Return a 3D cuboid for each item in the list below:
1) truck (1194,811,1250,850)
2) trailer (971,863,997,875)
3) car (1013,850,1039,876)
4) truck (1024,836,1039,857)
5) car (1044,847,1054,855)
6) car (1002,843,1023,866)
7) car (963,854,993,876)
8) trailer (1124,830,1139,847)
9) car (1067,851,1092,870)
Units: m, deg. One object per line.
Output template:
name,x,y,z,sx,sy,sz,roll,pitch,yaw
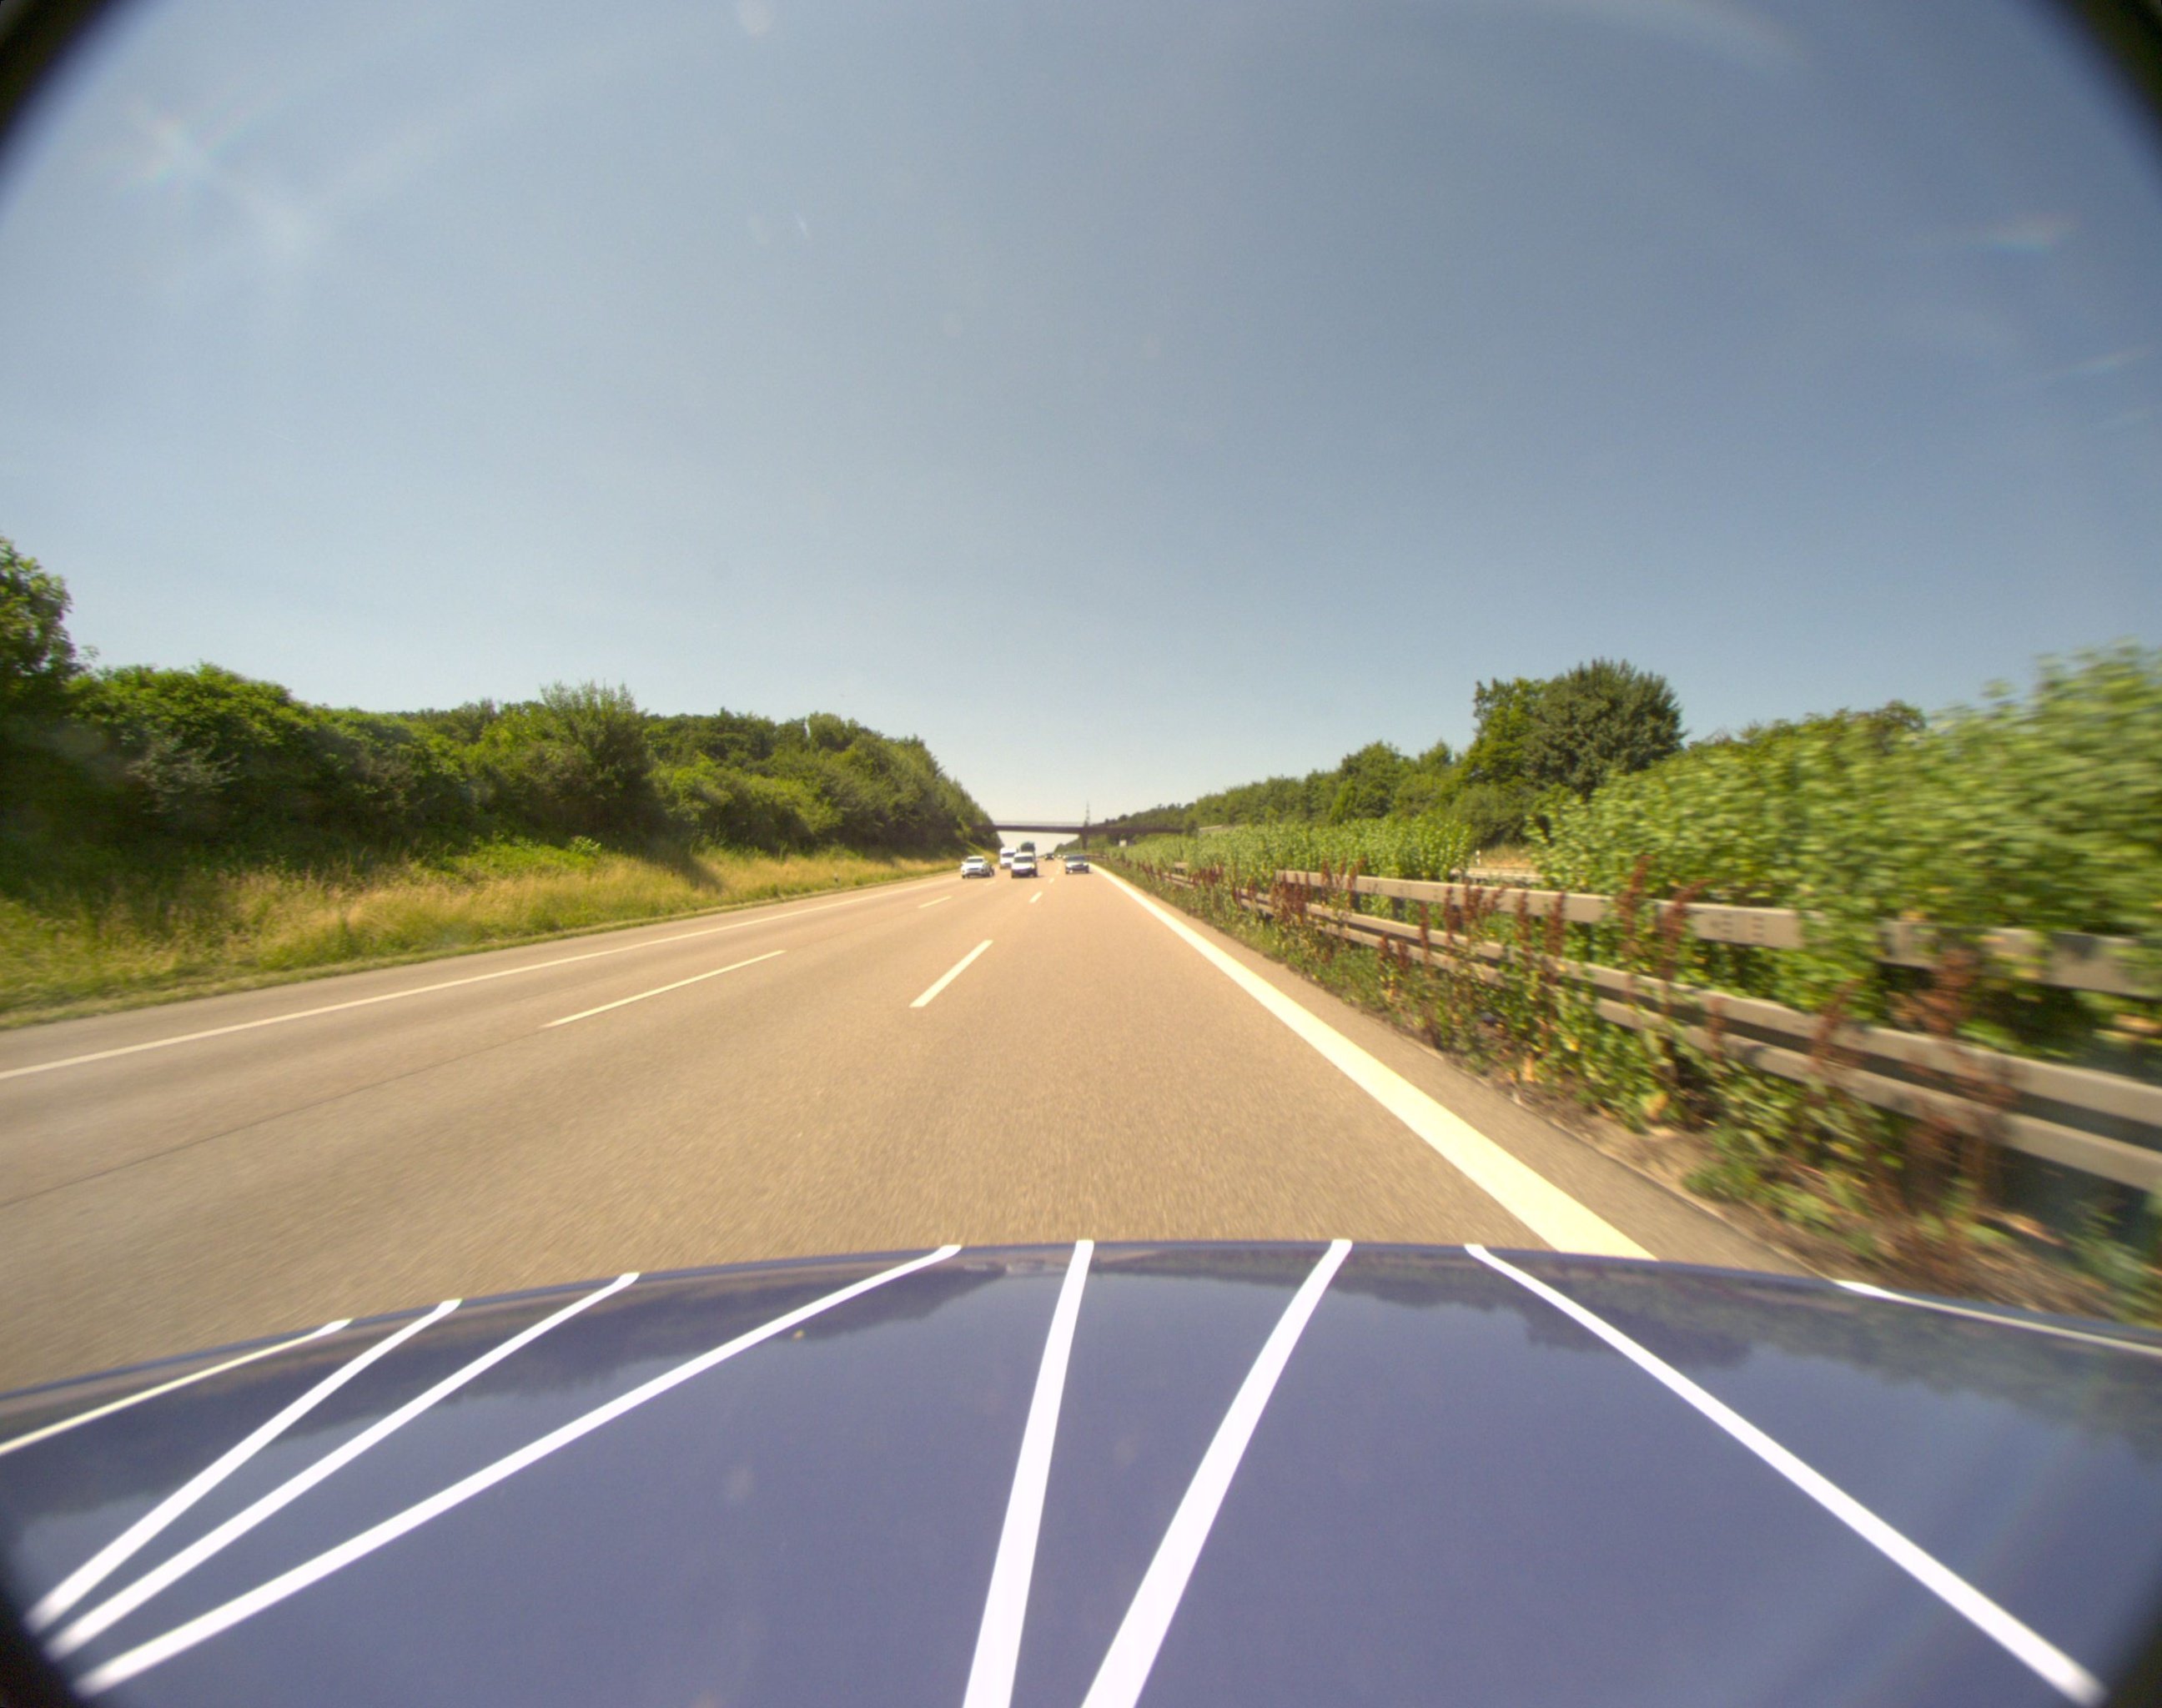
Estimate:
truck,16.287,-2.550,89.547,2.983,3.990,16.824,-2,0,-1
trailer,-8.173,1.232,64.166,1.759,0.903,4.318,-2,0,-1
car,-3.973,0.624,55.540,1.750,1.819,4.799,-2,0,-3
truck,-9.351,-1.327,142.228,2.517,3.819,4.890,-2,0,-6
car,-6.440,-0.583,153.700,1.789,1.550,3.941,-2,-1,-6
car,-8.177,0.094,90.164,2.096,2.560,6.618,-2,-1,-8
car,-8.088,0.879,59.785,1.786,1.641,4.403,-2,-1,-1
trailer,13.349,-4.023,201.507,2.641,4.228,14.674,-2,0,-1
car,-0.152,0.522,59.492,1.768,1.400,3.999,-2,-1,-2
